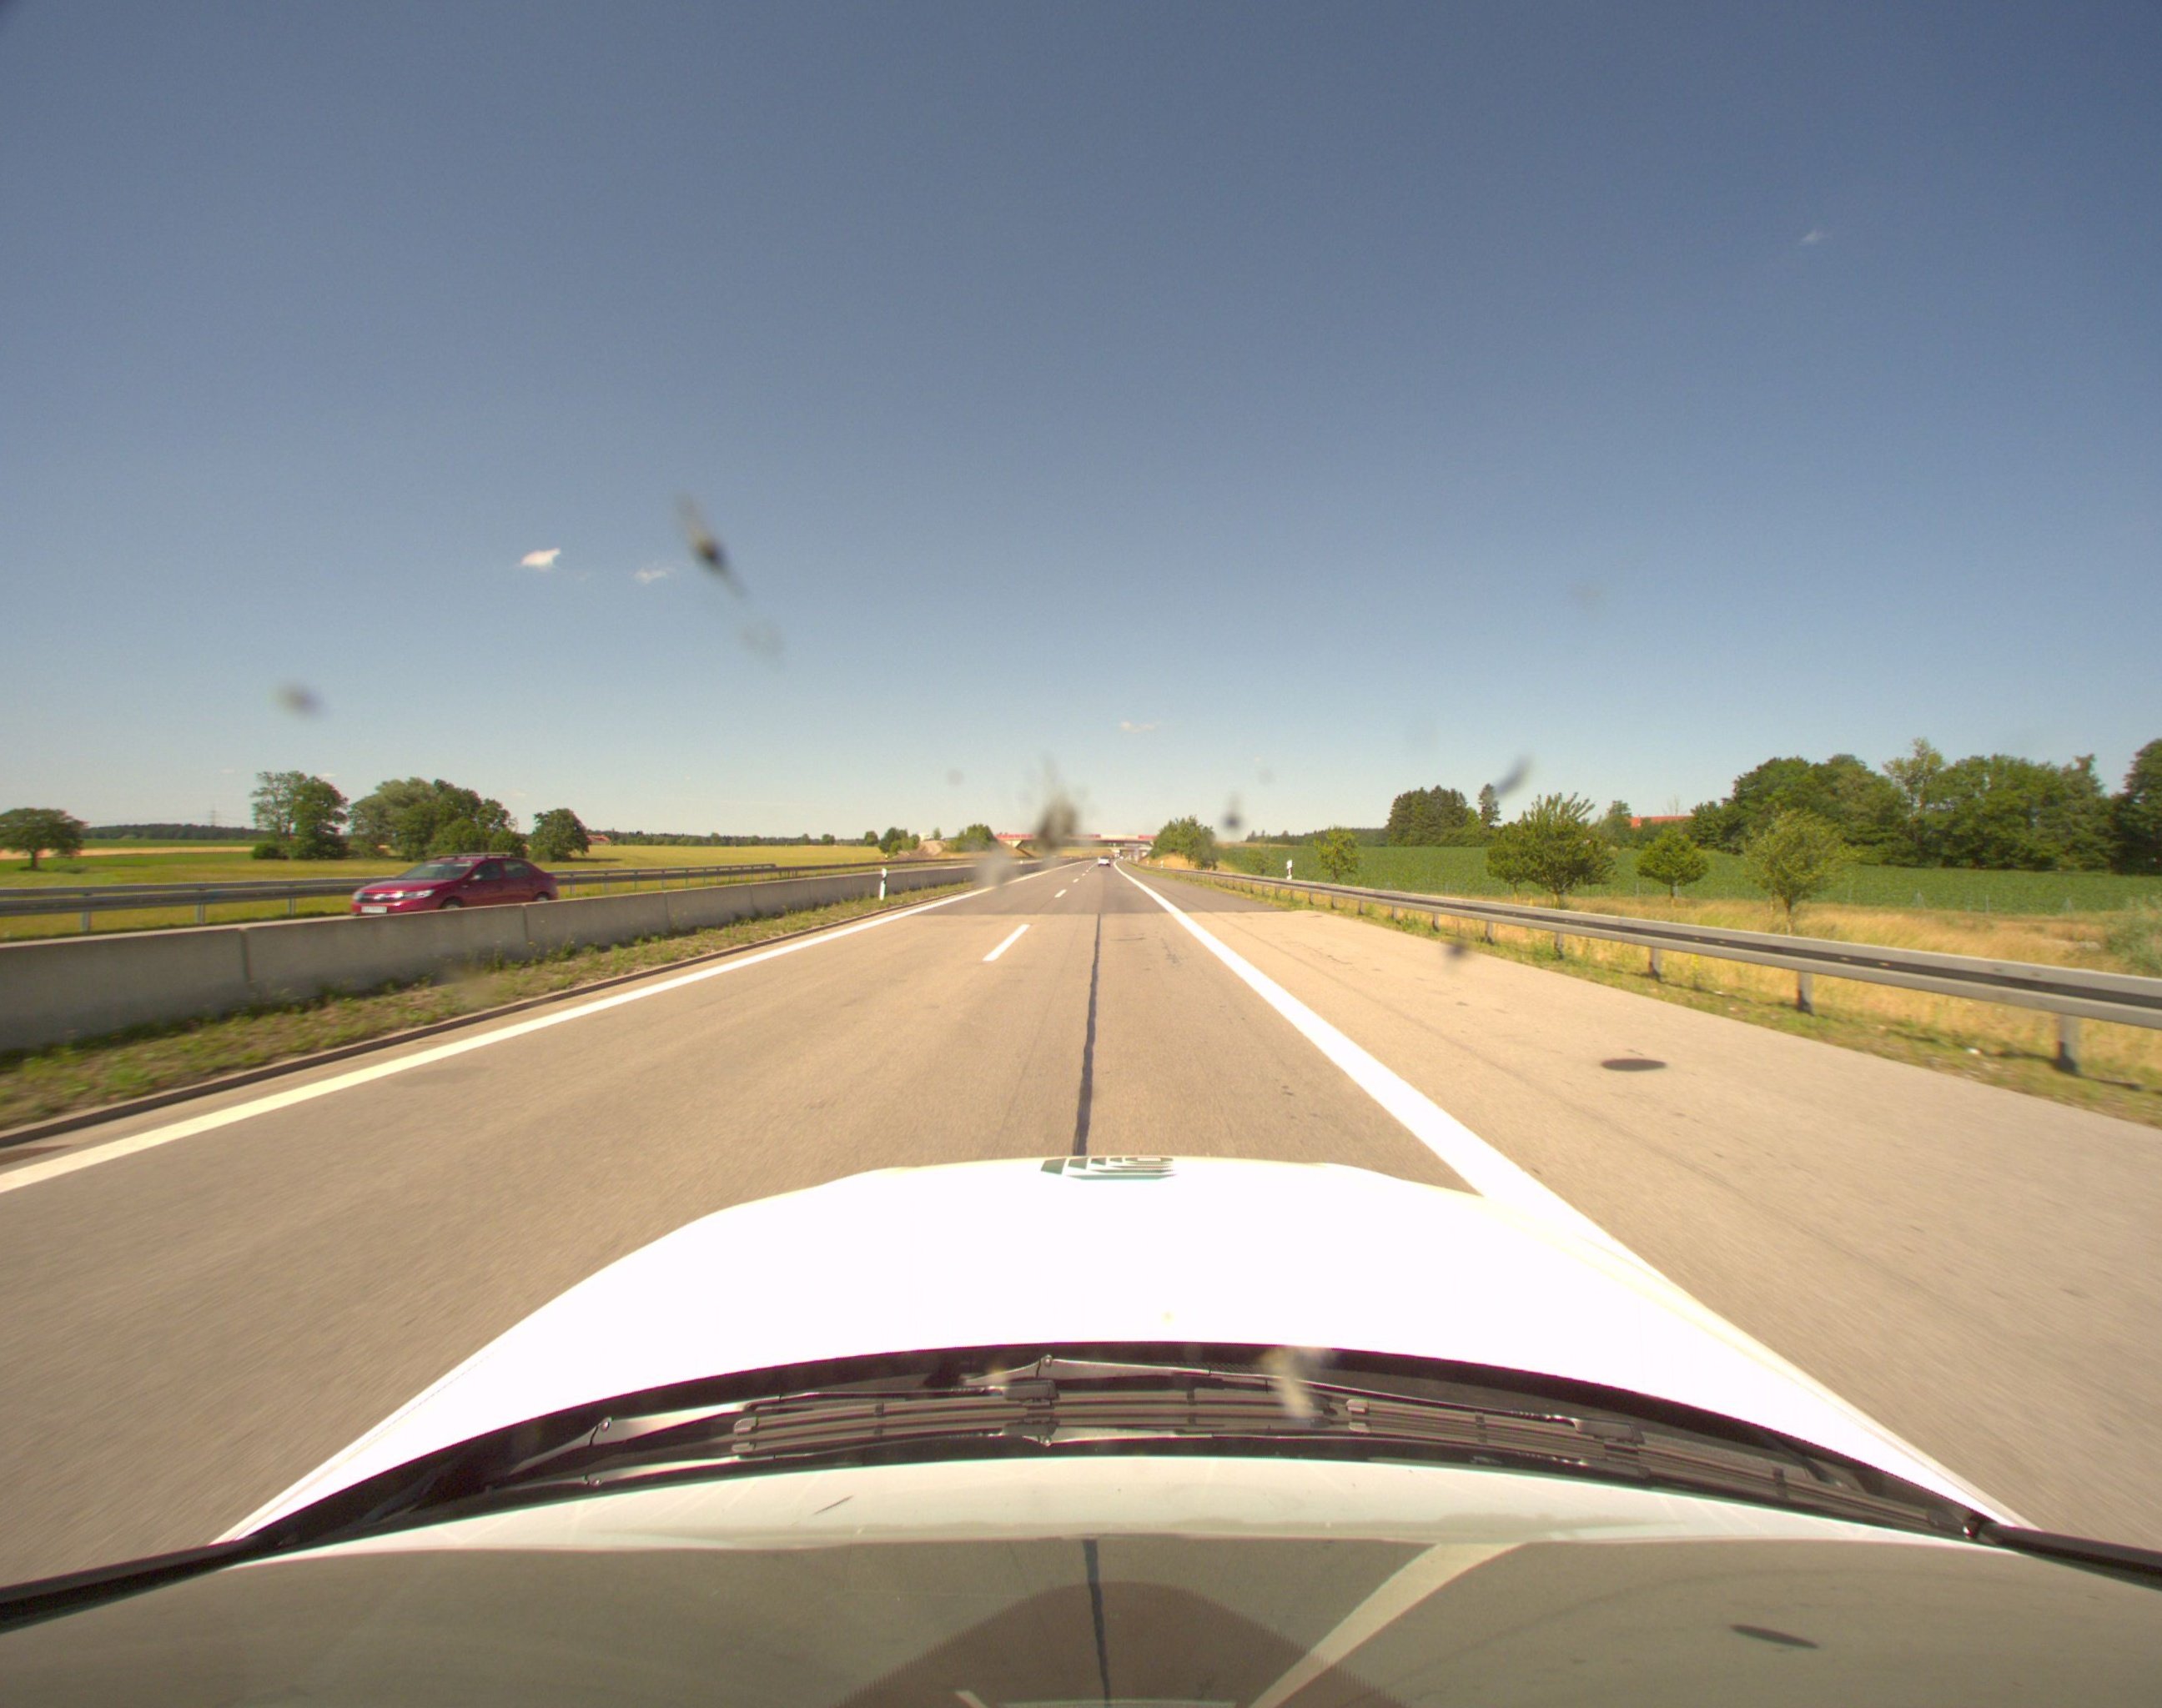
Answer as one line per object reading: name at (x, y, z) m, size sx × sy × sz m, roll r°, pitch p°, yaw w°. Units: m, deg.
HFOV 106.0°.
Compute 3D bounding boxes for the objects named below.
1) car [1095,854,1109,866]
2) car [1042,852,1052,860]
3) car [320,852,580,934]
car at (3.190, 0.891, 123.032) m, size 1.986 × 1.731 × 4.872 m, roll 0°, pitch 0°, yaw 2°
car at (-7.508, 0.450, 179.829) m, size 1.900 × 1.685 × 5.009 m, roll 3°, pitch 0°, yaw 2°
car at (-13.638, 0.763, 18.090) m, size 1.891 × 1.523 × 4.807 m, roll -2°, pitch 0°, yaw 2°
